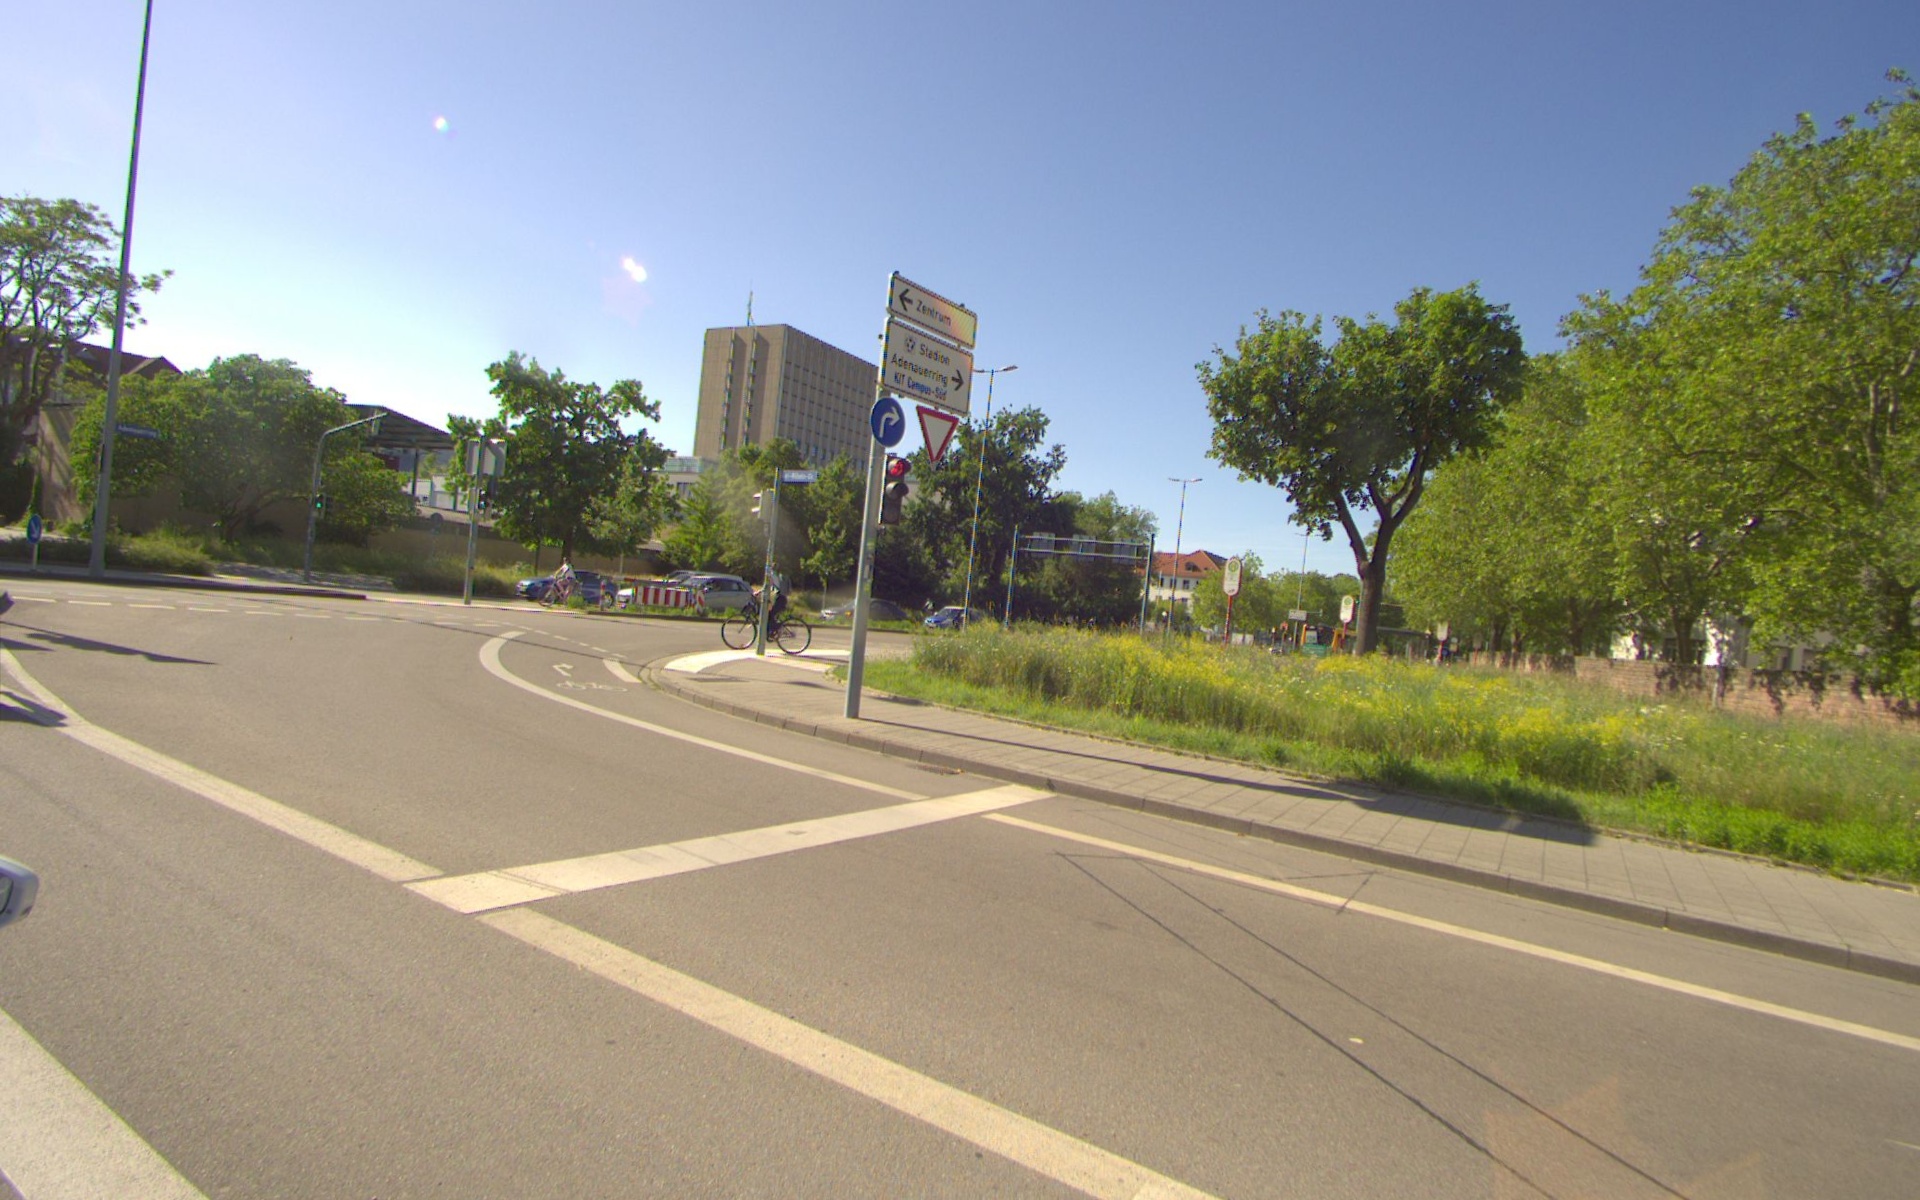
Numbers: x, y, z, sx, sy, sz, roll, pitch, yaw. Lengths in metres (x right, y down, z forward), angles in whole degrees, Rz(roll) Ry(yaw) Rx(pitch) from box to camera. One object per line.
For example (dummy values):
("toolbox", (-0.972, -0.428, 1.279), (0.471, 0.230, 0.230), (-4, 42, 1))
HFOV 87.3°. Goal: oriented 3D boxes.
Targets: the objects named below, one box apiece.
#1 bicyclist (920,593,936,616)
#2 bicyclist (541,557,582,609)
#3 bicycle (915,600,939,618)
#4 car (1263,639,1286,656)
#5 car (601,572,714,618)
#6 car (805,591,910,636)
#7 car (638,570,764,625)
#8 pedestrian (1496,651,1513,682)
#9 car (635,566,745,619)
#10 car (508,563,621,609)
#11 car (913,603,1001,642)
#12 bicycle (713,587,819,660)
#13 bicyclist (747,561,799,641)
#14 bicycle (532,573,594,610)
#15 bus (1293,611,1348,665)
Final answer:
("bicyclist", (-2.367, 0.314, 74.485), (0.621, 1.617, 0.830), (9, 4, 31))
("bicyclist", (-13.964, -0.582, 35.251), (0.734, 1.707, 0.974), (7, 2, 34))
("bicycle", (-2.438, 0.704, 74.473), (0.632, 1.180, 1.951), (9, 3, 31))
("car", (38.164, 5.815, 121.981), (1.905, 1.821, 4.357), (5, -1, 25))
("car", (-12.500, -0.200, 41.722), (1.971, 1.487, 3.982), (6, 0, 40))
("car", (-4.473, 0.630, 44.675), (1.953, 1.573, 4.709), (5, -1, 35))
("car", (-9.538, -0.056, 37.338), (1.762, 1.644, 4.303), (5, -1, 35))
("pedestrian", (30.278, 3.674, 55.950), (0.642, 1.630, 0.558), (7, -1, 30))
("car", (-12.518, -0.330, 46.954), (1.909, 1.976, 4.742), (5, -1, 35))
("car", (-16.205, -0.554, 41.345), (1.679, 1.459, 3.988), (5, -1, 35))
("car", (-0.087, 1.181, 50.737), (1.953, 1.573, 4.709), (5, -1, 35))
("bicycle", (-3.794, 0.444, 19.734), (1.836, 1.180, 0.642), (7, 2, -1))
("bicyclist", (-3.653, 0.012, 19.715), (0.762, 1.463, 0.642), (7, 2, -1))
("bicycle", (-13.941, -0.288, 35.343), (0.736, 1.180, 1.864), (7, 2, 33))
("bus", (27.112, 2.917, 75.547), (2.935, 3.310, 6.255), (7, -2, 26))
